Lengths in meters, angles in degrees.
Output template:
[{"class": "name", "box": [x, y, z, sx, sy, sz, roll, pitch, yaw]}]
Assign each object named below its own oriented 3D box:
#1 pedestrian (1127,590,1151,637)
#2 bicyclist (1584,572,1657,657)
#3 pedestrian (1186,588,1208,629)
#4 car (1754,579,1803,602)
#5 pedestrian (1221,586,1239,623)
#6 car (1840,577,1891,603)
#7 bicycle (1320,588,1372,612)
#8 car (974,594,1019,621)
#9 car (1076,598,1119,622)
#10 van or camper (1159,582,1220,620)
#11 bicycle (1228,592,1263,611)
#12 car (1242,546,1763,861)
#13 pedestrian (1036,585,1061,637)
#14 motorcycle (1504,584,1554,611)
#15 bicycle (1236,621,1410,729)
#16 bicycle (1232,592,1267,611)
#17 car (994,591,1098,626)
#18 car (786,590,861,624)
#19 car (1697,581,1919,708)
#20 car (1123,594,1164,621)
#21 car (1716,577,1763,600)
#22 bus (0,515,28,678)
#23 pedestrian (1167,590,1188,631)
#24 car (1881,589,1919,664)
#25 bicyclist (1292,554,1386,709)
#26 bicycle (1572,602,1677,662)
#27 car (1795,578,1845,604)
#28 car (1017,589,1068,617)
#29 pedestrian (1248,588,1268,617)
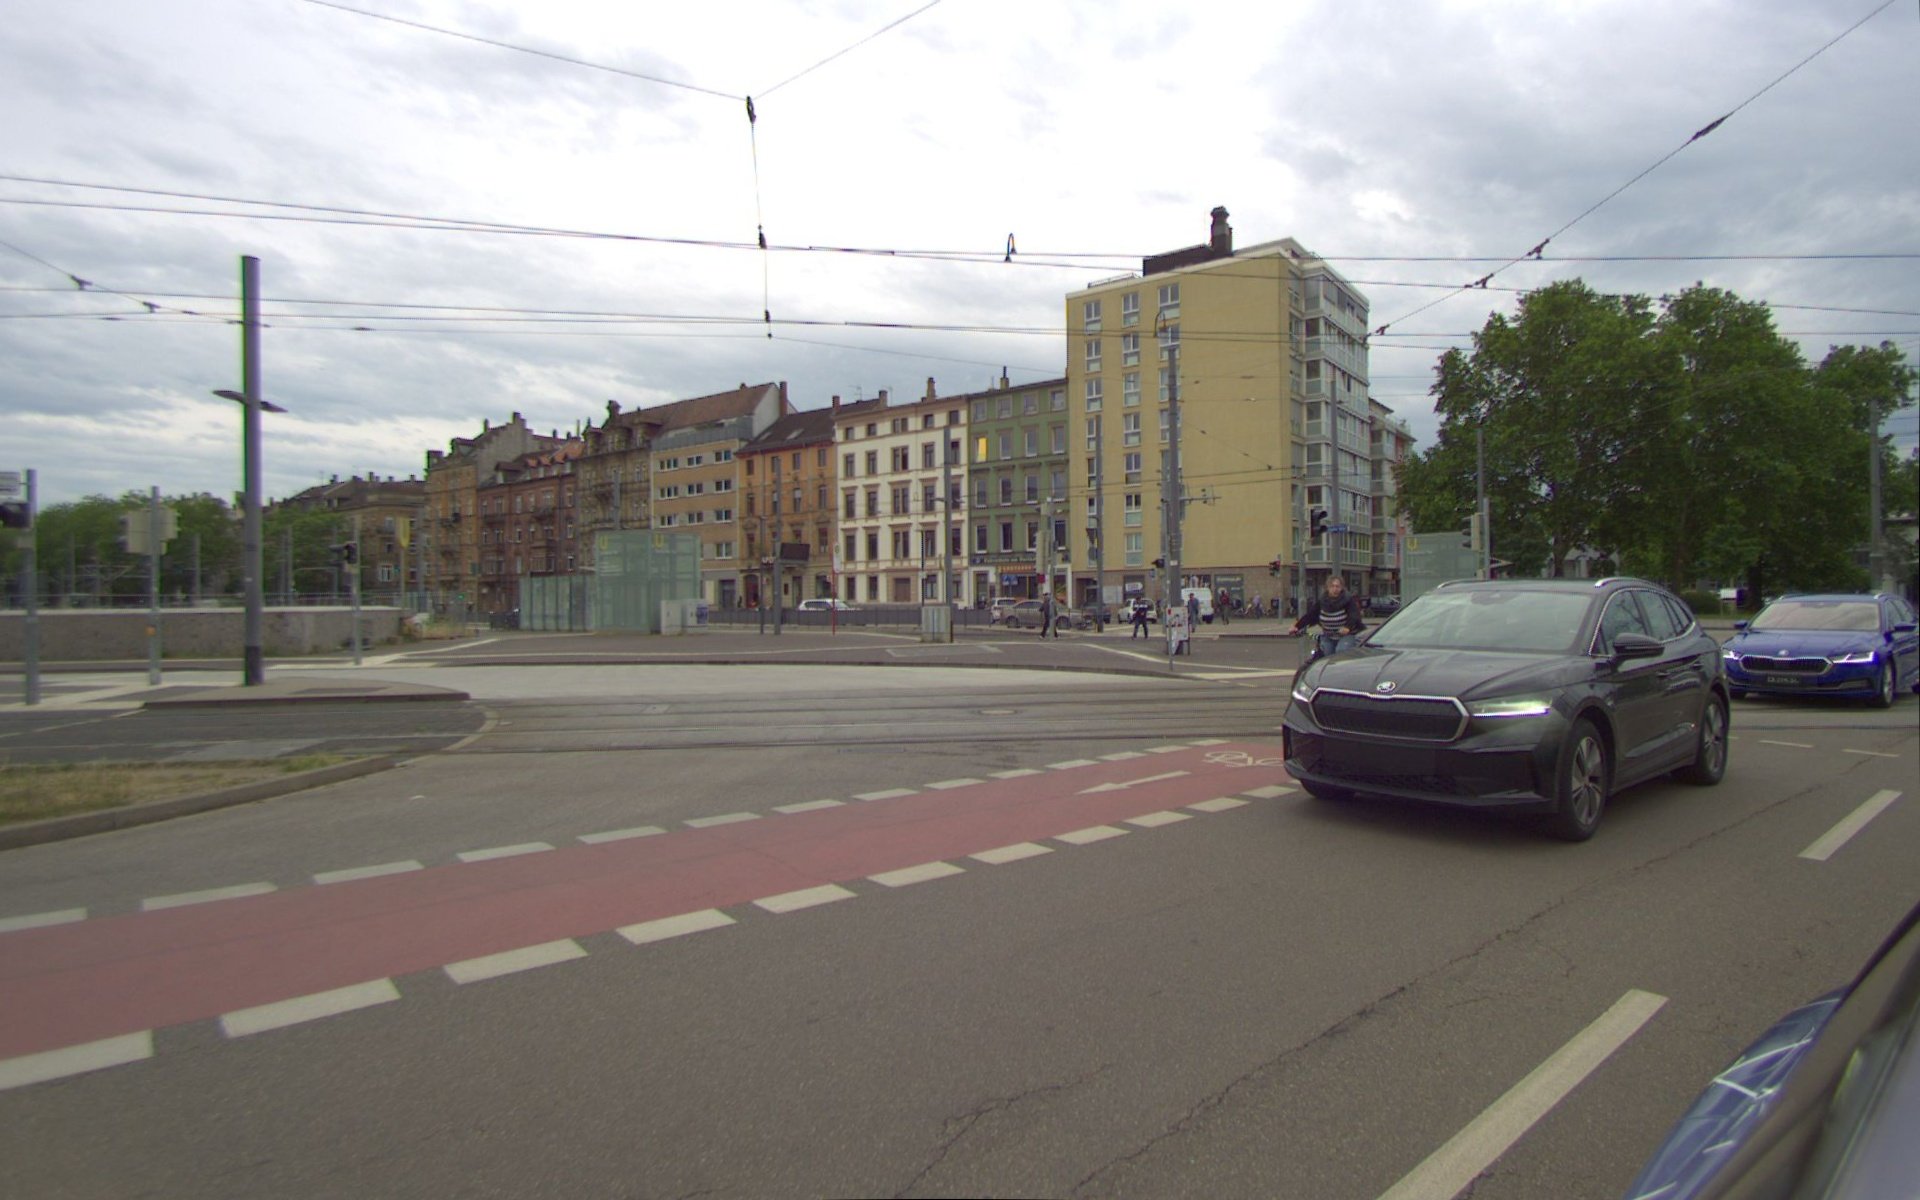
[{"class": "pedestrian", "box": [6.557, 0.481, 37.010, 0.773, 1.664, 0.900, -2, 0, 15]}, {"class": "bicyclist", "box": [13.179, 0.281, 20.208, 0.914, 1.639, 0.792, -1, -2, -25]}, {"class": "pedestrian", "box": [9.547, 0.339, 40.738, 0.773, 1.622, 0.893, -2, 0, 15]}, {"class": "car", "box": [69.553, -0.835, 86.014, 4.152, 1.484, 1.958, -8, 3, -32]}, {"class": "pedestrian", "box": [12.985, 0.213, 48.679, 0.777, 1.779, 1.044, -1, 0, 16]}, {"class": "car", "box": [72.779, -0.838, 81.305, 4.154, 1.472, 1.958, -10, 5, -32]}, {"class": "bicycle", "box": [22.985, 0.022, 60.299, 2.770, 1.395, 0.891, -1, 0, 40]}, {"class": "car", "box": [2.255, 0.458, 63.635, 1.700, 1.607, 3.746, -1, 0, -16]}, {"class": "car", "box": [8.101, 0.566, 59.843, 1.647, 1.320, 3.742, -2, 0, -6]}, {"class": "van or camper", "box": [12.960, 0.052, 57.523, 2.131, 2.003, 5.467, -1, 0, -1]}, {"class": "bicycle", "box": [17.750, 0.108, 62.923, 2.027, 1.183, 0.661, -1, 0, 35]}, {"class": "car", "box": [4.232, 0.518, 7.567, 4.435, 1.679, 1.907, -1, 0, -40]}, {"class": "pedestrian", "box": [3.372, 0.403, 38.422, 0.773, 1.936, 0.900, -2, 0, 15]}, {"class": "motorcycle", "box": [30.158, -0.122, 53.694, 2.272, 1.383, 1.036, -1, 0, 30]}, {"class": "bicycle", "box": [4.159, 0.817, 11.534, 2.083, 1.068, 0.627, -2, 0, -29]}, {"class": "bicycle", "box": [18.167, 0.100, 63.470, 2.027, 1.183, 0.661, -1, 0, 35]}, {"class": "car", "box": [3.878, 0.404, 46.071, 4.425, 1.505, 1.971, -2, 0, 41]}, {"class": "car", "box": [-7.556, 0.408, 55.942, 3.981, 1.772, 1.971, -2, 0, 41]}, {"class": "car", "box": [12.144, 0.502, 14.009, 4.668, 1.454, 1.770, -2, 0, -36]}, {"class": "car", "box": [10.746, 0.415, 59.456, 1.704, 1.435, 3.737, -2, 0, 1]}, {"class": "car", "box": [67.975, -1.011, 88.252, 4.153, 1.530, 1.958, -9, 4, -32]}, {"class": "bus", "box": [-25.712, 0.107, 18.919, 12.777, 3.309, 3.030, -2, 0, -7]}, {"class": "pedestrian", "box": [8.847, 0.424, 41.100, 0.757, 1.632, 0.947, -2, 0, 15]}, {"class": "car", "box": [20.064, 0.459, 19.762, 4.333, 1.387, 1.773, -1, 1, -29]}, {"class": "bicyclist", "box": [4.332, 0.344, 11.588, 0.790, 1.712, 0.618, -1, -1, -30]}, {"class": "bicycle", "box": [13.256, 0.632, 20.195, 1.975, 1.093, 0.764, -1, -2, -24]}, {"class": "car", "box": [71.020, -0.757, 83.543, 4.153, 1.615, 1.958, -9, 4, -32]}, {"class": "car", "box": [5.002, 0.168, 62.082, 1.852, 1.602, 3.745, -2, 0, -16]}, {"class": "pedestrian", "box": [18.146, 0.152, 61.595, 0.901, 1.759, 0.802, -1, 0, 38]}]
